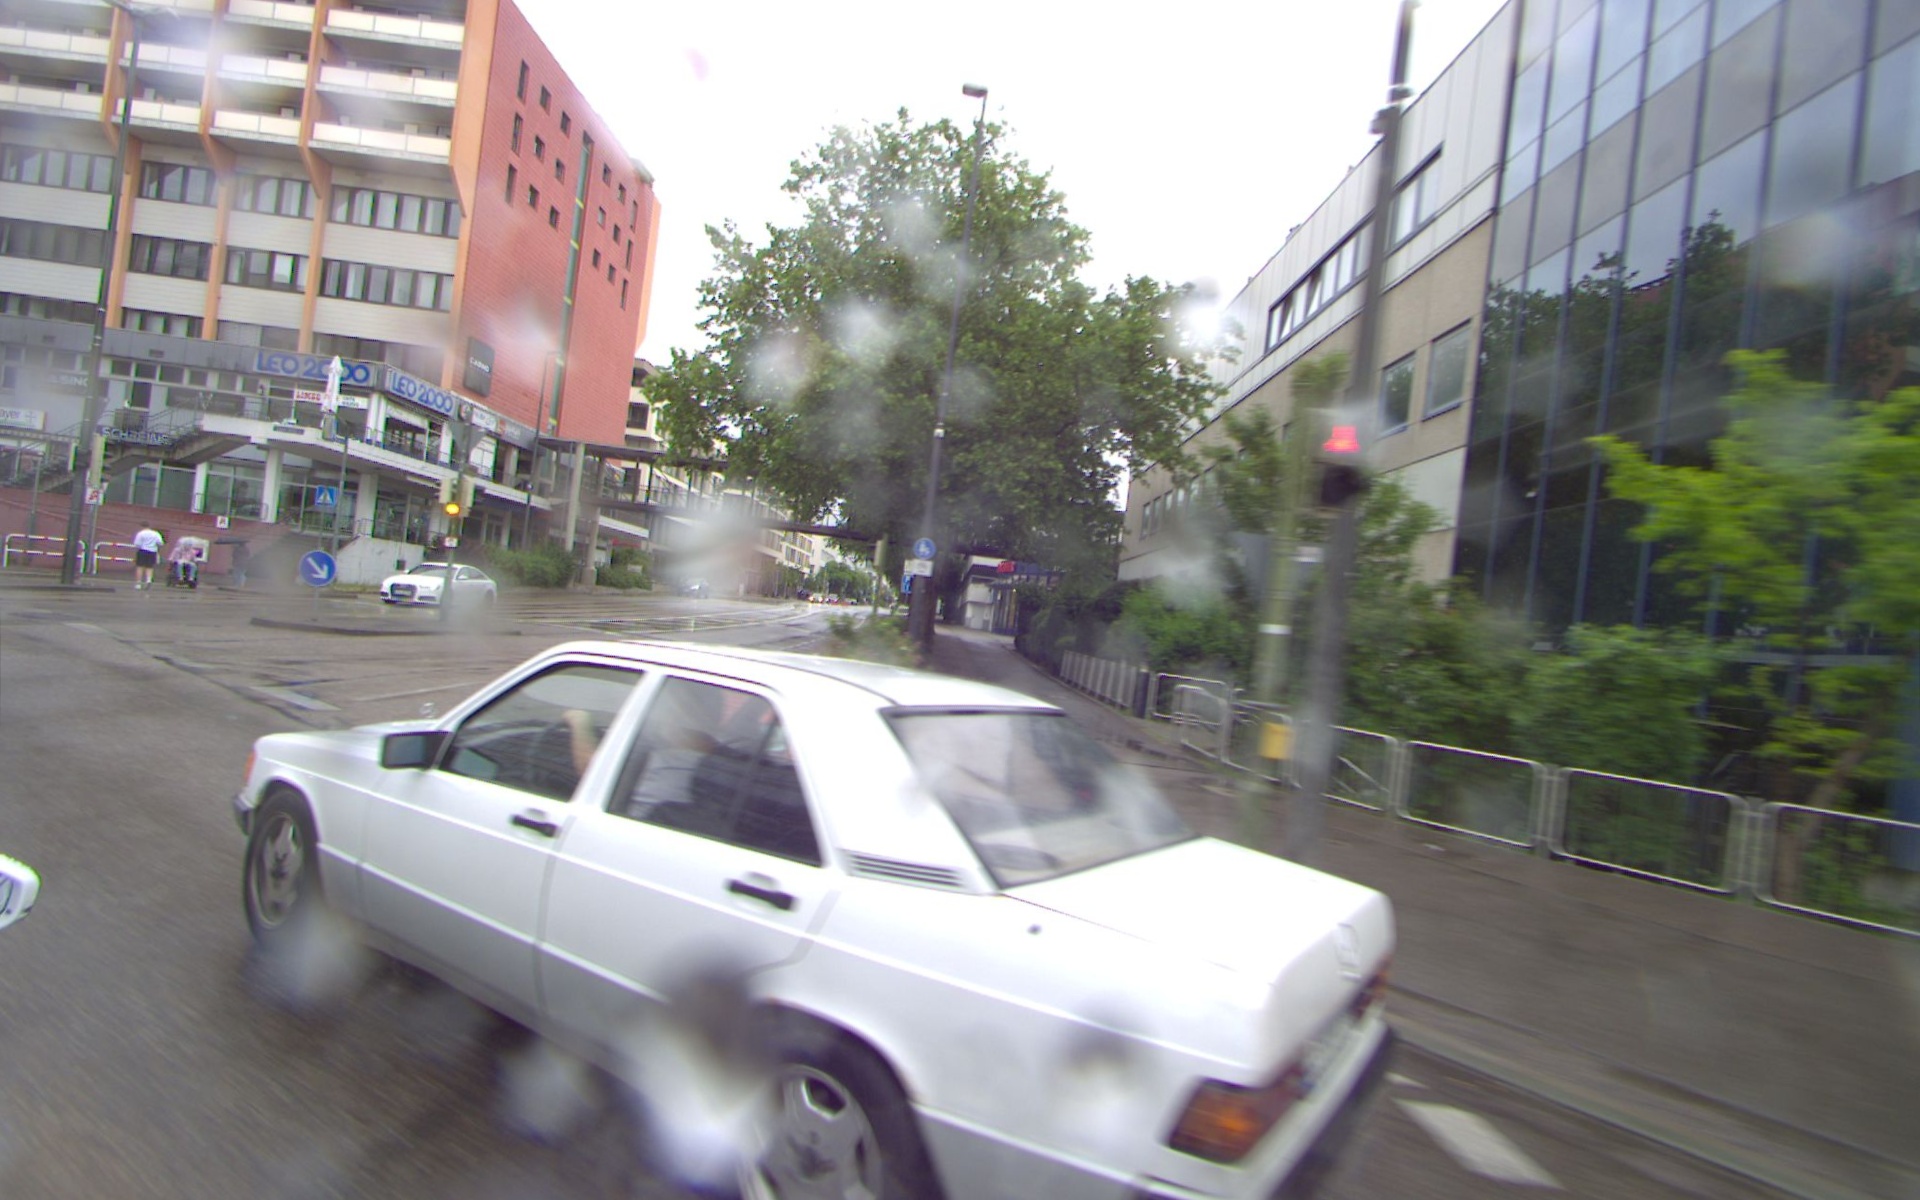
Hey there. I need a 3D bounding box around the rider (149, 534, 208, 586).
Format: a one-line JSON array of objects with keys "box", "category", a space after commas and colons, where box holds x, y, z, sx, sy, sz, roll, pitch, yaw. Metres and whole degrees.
[{"box": [-21.627, -1.101, 27.831, 1.072, 1.301, 0.922, 7, 3, 32], "category": "rider"}]

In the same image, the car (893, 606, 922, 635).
[{"box": [-3.796, 1.512, 73.712, 1.802, 1.827, 4.000, 6, -1, -1], "category": "car"}]

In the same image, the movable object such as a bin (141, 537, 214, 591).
[{"box": [-21.681, -0.989, 27.870, 1.431, 1.349, 1.130, 4, 1, 32], "category": "movable object such as a bin"}]

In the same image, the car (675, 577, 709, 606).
[{"box": [-21.124, -0.659, 79.420, 1.965, 2.038, 3.996, 6, -1, -7], "category": "car"}]

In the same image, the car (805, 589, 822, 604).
[{"box": [-20.584, -0.428, 141.553, 1.684, 1.829, 4.002, 6, -1, 1], "category": "car"}]

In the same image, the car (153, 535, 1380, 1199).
[{"box": [-0.962, 0.802, 3.600, 4.199, 1.464, 1.637, 8, -2, 33], "category": "car"}]

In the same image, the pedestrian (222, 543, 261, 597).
[{"box": [-24.036, -1.001, 33.651, 0.791, 1.688, 0.920, 7, -1, -43], "category": "pedestrian"}]

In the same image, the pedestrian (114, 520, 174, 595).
[{"box": [-20.244, -1.064, 24.960, 1.113, 1.711, 0.827, 6, -1, 40], "category": "pedestrian"}]

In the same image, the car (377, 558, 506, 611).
[{"box": [-16.695, -0.434, 32.665, 1.779, 1.423, 4.789, 5, -1, -3], "category": "car"}]
